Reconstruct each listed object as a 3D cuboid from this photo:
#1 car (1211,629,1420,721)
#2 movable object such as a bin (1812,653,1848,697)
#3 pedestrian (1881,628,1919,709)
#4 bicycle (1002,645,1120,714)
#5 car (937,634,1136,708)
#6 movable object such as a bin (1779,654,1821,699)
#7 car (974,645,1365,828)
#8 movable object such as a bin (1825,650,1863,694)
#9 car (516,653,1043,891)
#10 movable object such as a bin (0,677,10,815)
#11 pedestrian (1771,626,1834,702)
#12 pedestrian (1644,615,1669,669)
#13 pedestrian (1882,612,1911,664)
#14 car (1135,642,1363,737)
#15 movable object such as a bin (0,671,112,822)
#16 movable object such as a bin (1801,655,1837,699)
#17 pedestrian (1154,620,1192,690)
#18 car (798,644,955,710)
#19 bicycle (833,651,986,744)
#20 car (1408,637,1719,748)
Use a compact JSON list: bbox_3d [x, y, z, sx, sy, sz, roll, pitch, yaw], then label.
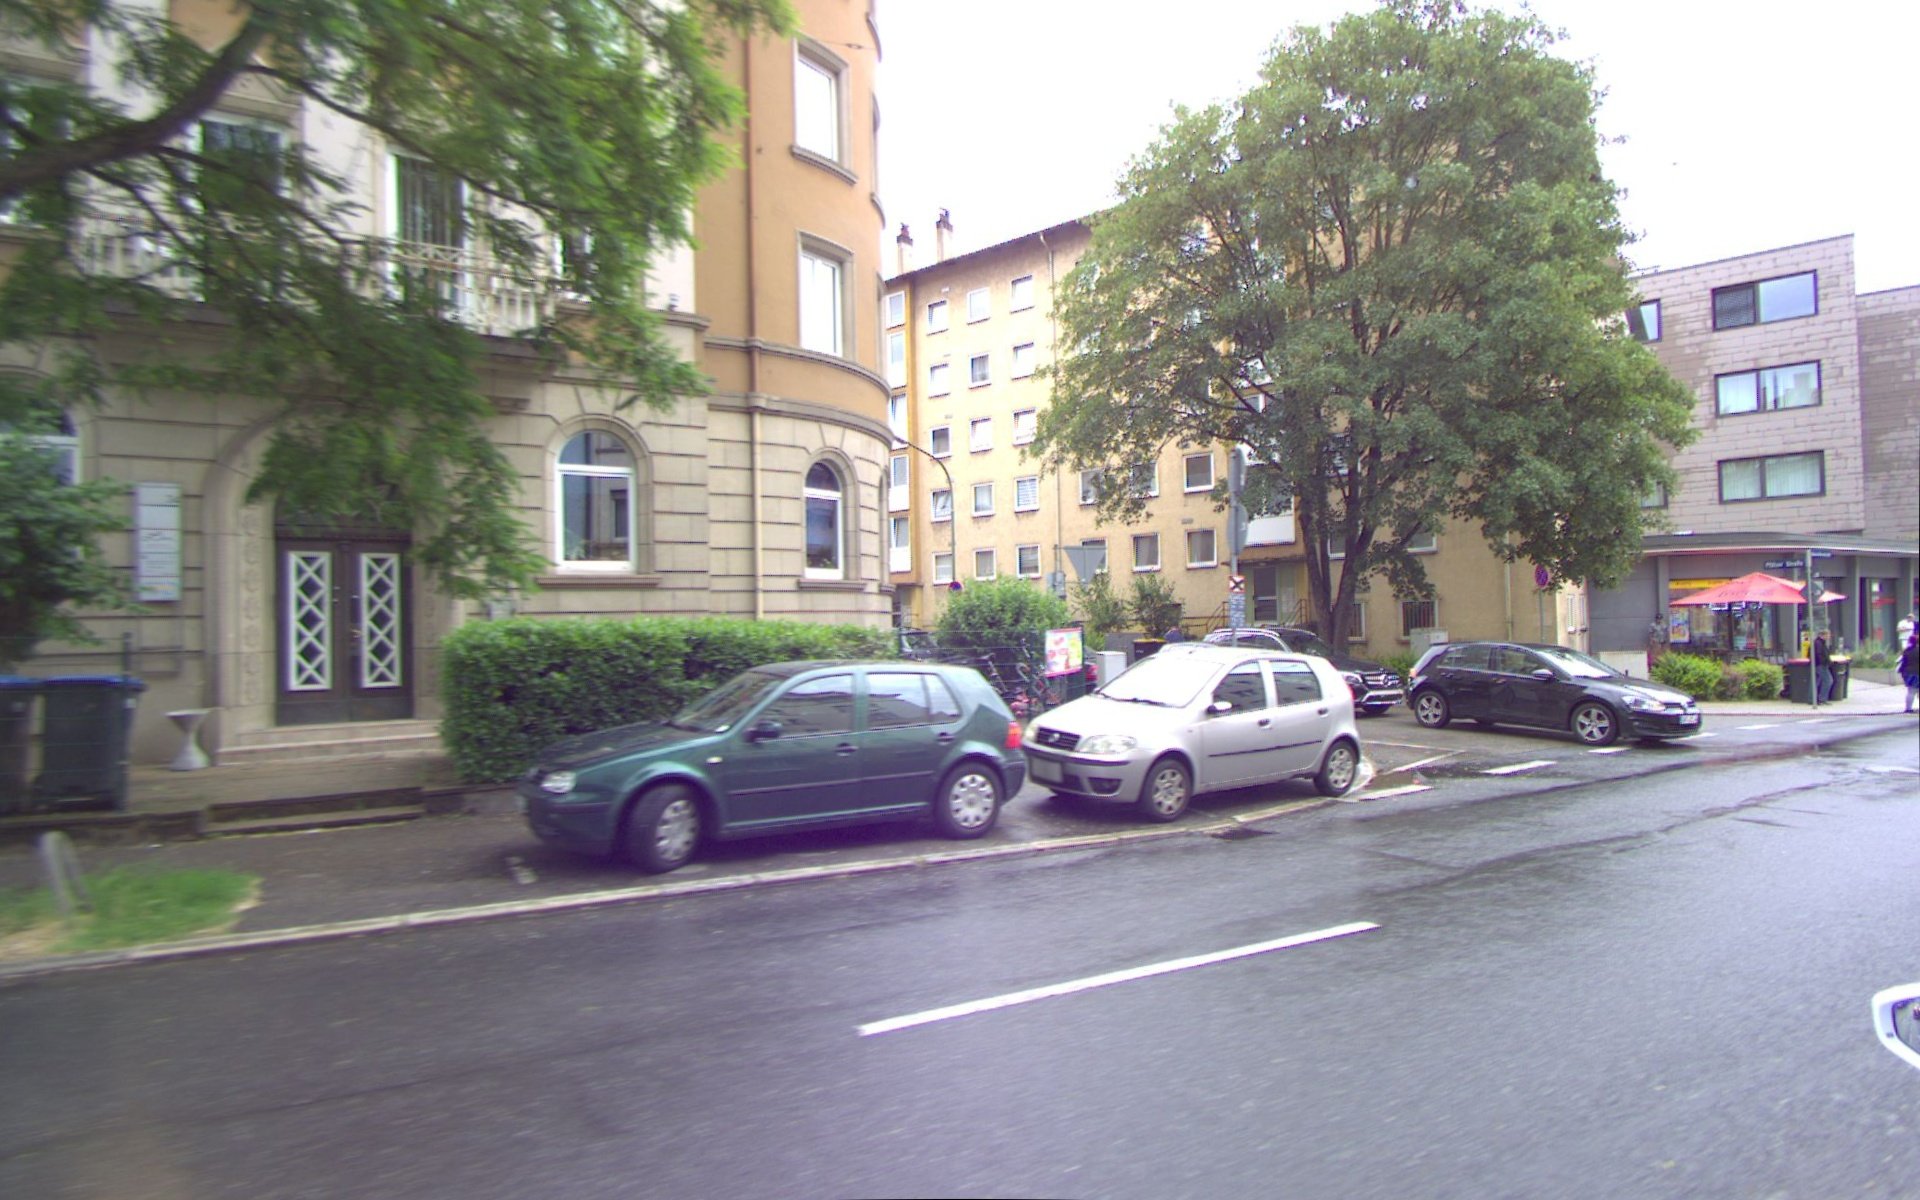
[{"bbox_3d":[6.999,1.414,20.154,1.673,1.603,3.793,-1,-1,-29],"label":"car"},{"bbox_3d":[22.057,1.909,25.463,0.599,1.095,0.488,2,-3,-29],"label":"movable object such as a bin"},{"bbox_3d":[20.528,1.479,21.748,0.731,1.731,0.677,-4,-4,40],"label":"pedestrian"},{"bbox_3d":[1.596,1.246,15.915,1.673,1.024,0.806,-2,-2,27],"label":"bicycle"},{"bbox_3d":[1.653,1.508,22.362,4.165,1.439,1.705,0,-2,36],"label":"car"},{"bbox_3d":[20.731,1.891,24.797,0.722,1.095,0.551,2,-3,-29],"label":"movable object such as a bin"},{"bbox_3d":[2.157,1.199,9.995,3.799,1.473,1.622,2,-2,-33],"label":"car"},{"bbox_3d":[22.632,1.841,25.713,0.530,1.085,0.472,0,-3,7],"label":"movable object such as a bin"},{"bbox_3d":[-1.375,1.187,8.155,3.898,1.473,1.645,2,-2,-31],"label":"car"},{"bbox_3d":[-7.662,1.122,7.557,0.643,1.054,0.424,1,-2,-30],"label":"movable object such as a bin"},{"bbox_3d":[20.234,1.511,24.131,0.708,1.754,1.054,0,-1,-39],"label":"pedestrian"},{"bbox_3d":[24.001,1.446,34.599,0.624,1.840,0.636,-1,-2,31],"label":"pedestrian"},{"bbox_3d":[31.624,1.283,33.917,0.650,1.728,0.658,3,0,43],"label":"pedestrian"},{"bbox_3d":[4.919,1.469,17.598,1.720,1.408,3.803,0,-2,-26],"label":"car"},{"bbox_3d":[-7.002,1.110,7.762,0.583,1.095,0.437,1,-2,-30],"label":"movable object such as a bin"},{"bbox_3d":[21.504,1.924,25.139,0.599,1.095,0.488,2,-3,-29],"label":"movable object such as a bin"},{"bbox_3d":[5.484,1.397,25.835,0.618,1.705,0.814,3,3,41],"label":"pedestrian"},{"bbox_3d":[-2.149,1.895,25.425,3.776,1.459,1.705,0,-2,36],"label":"car"},{"bbox_3d":[-0.695,1.201,12.916,0.799,1.060,2.325,1,-3,-37],"label":"bicycle"},{"bbox_3d":[9.216,1.340,15.645,1.722,1.408,3.798,3,-2,-30],"label":"car"}]
